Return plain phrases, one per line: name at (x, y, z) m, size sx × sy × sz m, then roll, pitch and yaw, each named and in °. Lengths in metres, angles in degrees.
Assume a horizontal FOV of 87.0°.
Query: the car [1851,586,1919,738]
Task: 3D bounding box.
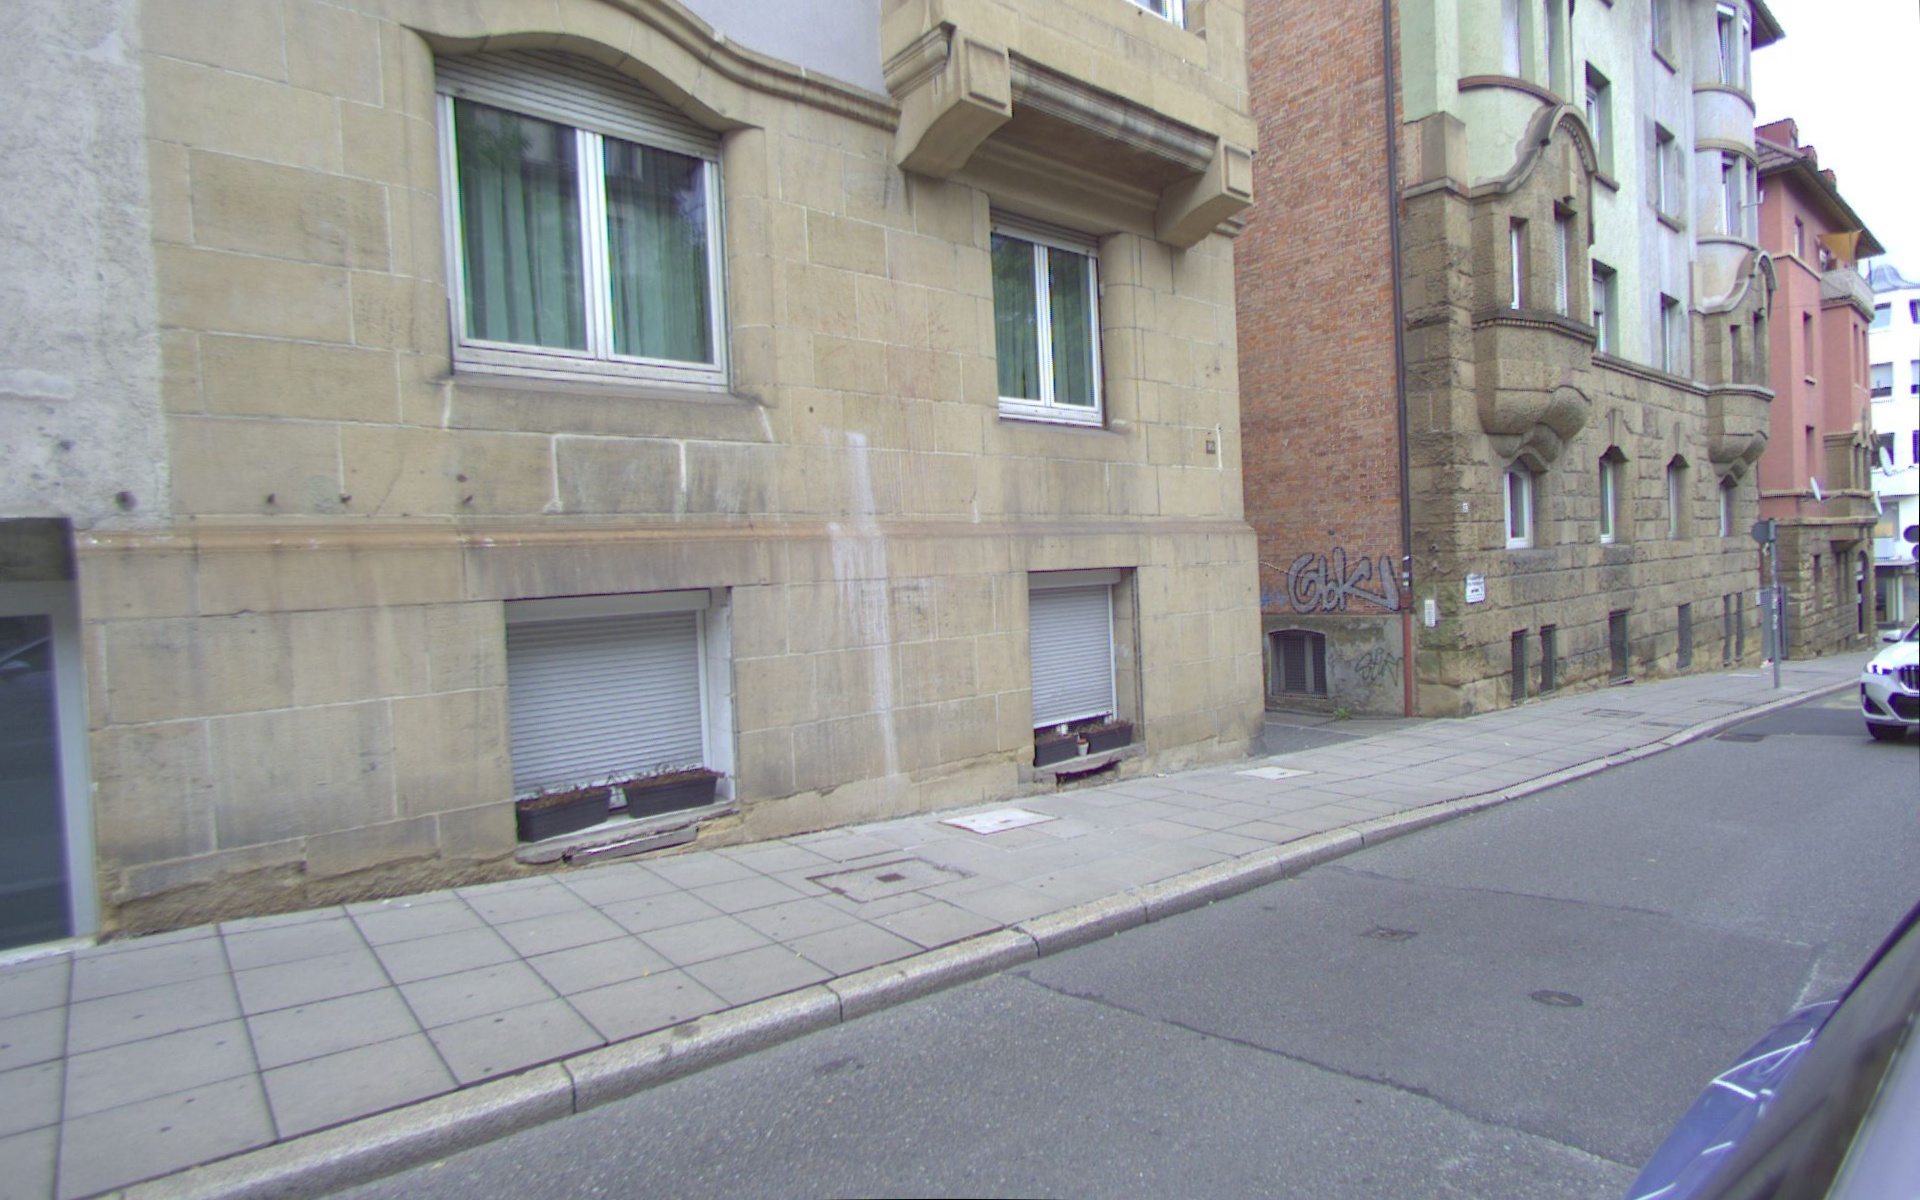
car at (12.322, 0.618, 11.591) m, size 4.473 × 1.625 × 1.856 m, roll -1°, pitch -1°, yaw -31°
